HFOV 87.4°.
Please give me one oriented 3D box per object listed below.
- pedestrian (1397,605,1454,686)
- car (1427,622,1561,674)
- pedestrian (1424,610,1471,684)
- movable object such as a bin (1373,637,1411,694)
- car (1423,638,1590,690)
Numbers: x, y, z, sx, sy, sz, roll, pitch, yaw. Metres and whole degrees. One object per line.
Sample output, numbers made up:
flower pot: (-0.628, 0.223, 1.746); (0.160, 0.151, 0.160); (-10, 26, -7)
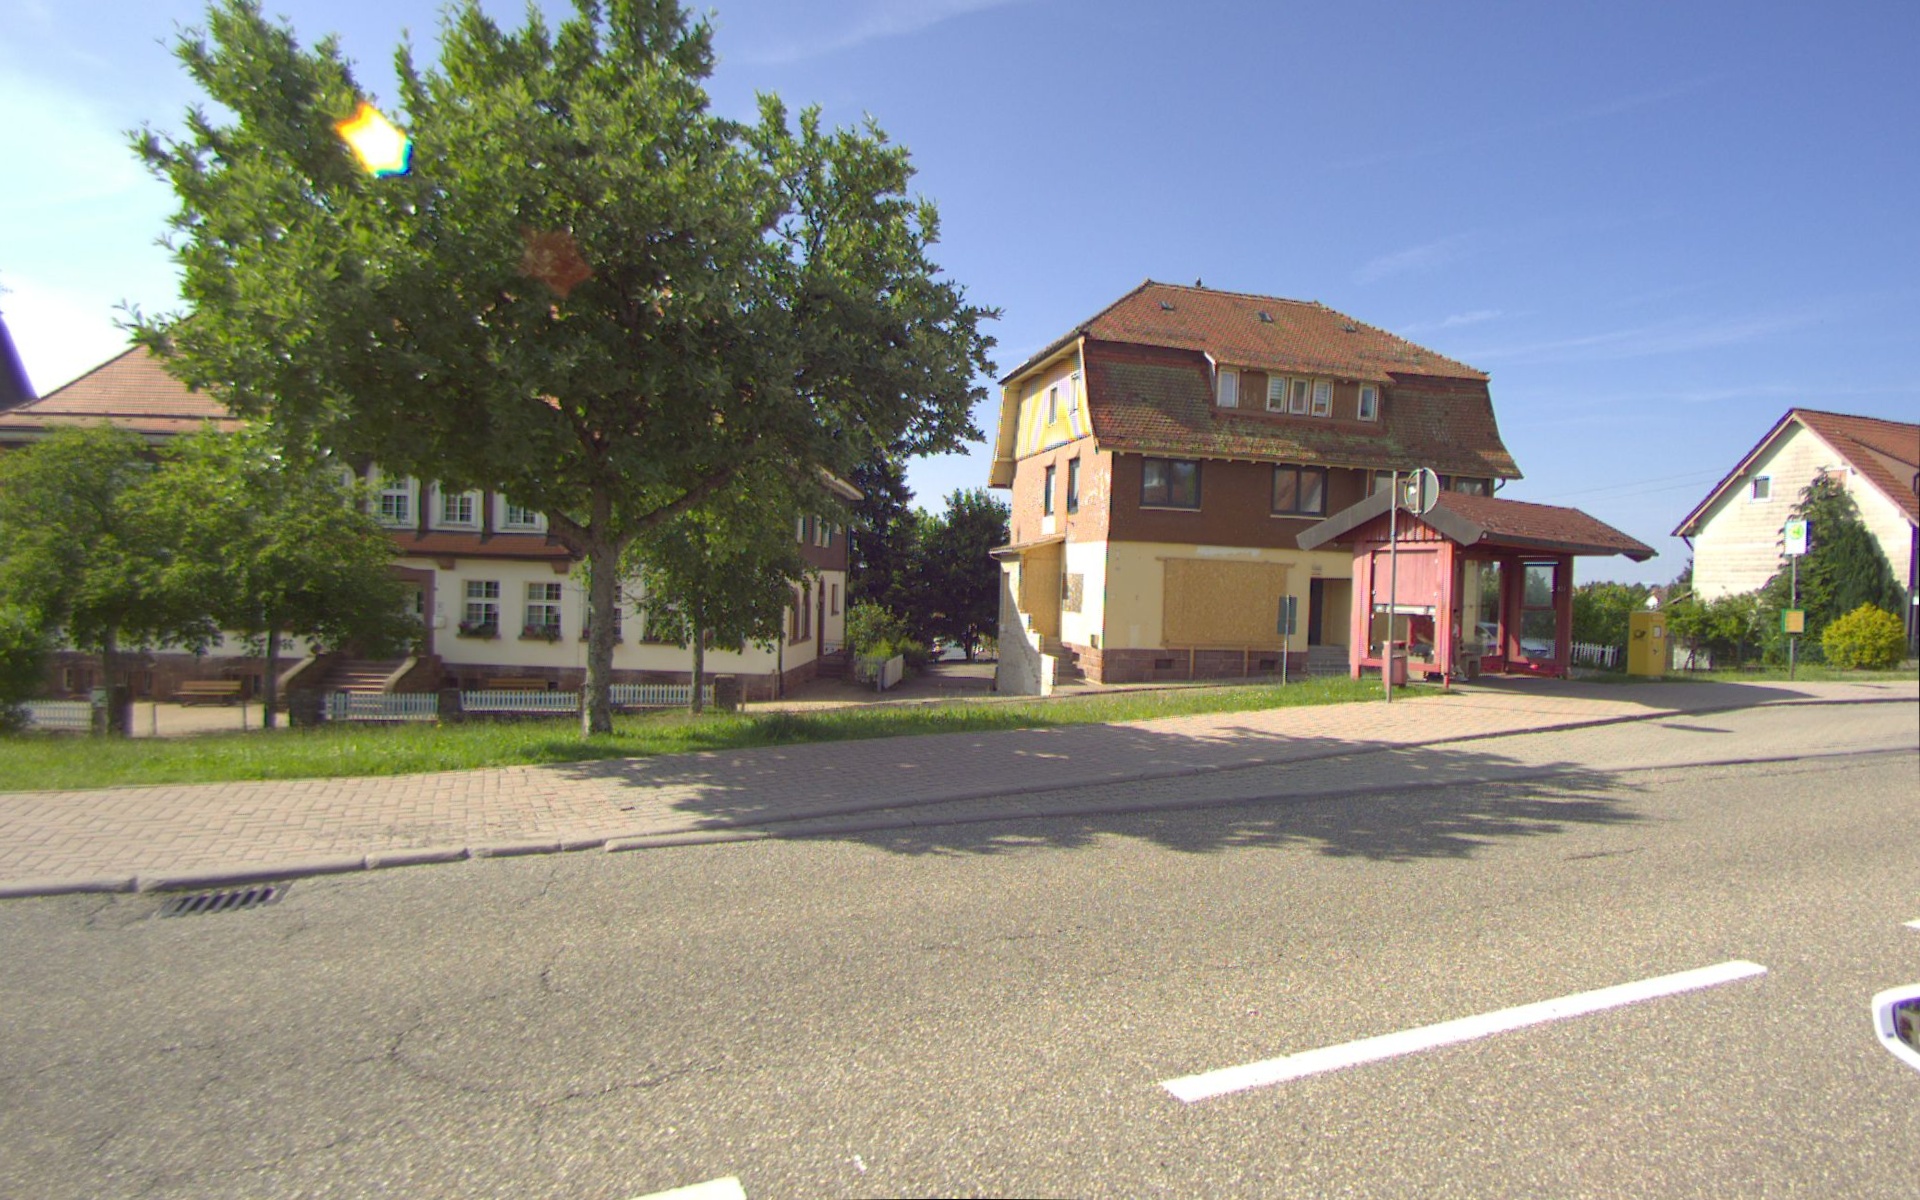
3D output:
pedestrian: (8.137, 0.779, 17.571); (0.666, 1.382, 0.614); (0, -1, -31)
car: (19.644, 1.721, 37.168); (1.772, 1.531, 4.296); (3, 1, -19)
pedestrian: (8.650, 0.828, 17.839); (0.419, 1.269, 0.626); (1, -2, -32)
movable object such as a bin: (6.593, 0.999, 15.331); (0.480, 0.848, 0.303); (1, -1, -32)
car: (14.830, 1.709, 27.308); (3.933, 1.314, 1.721); (1, -1, -15)
